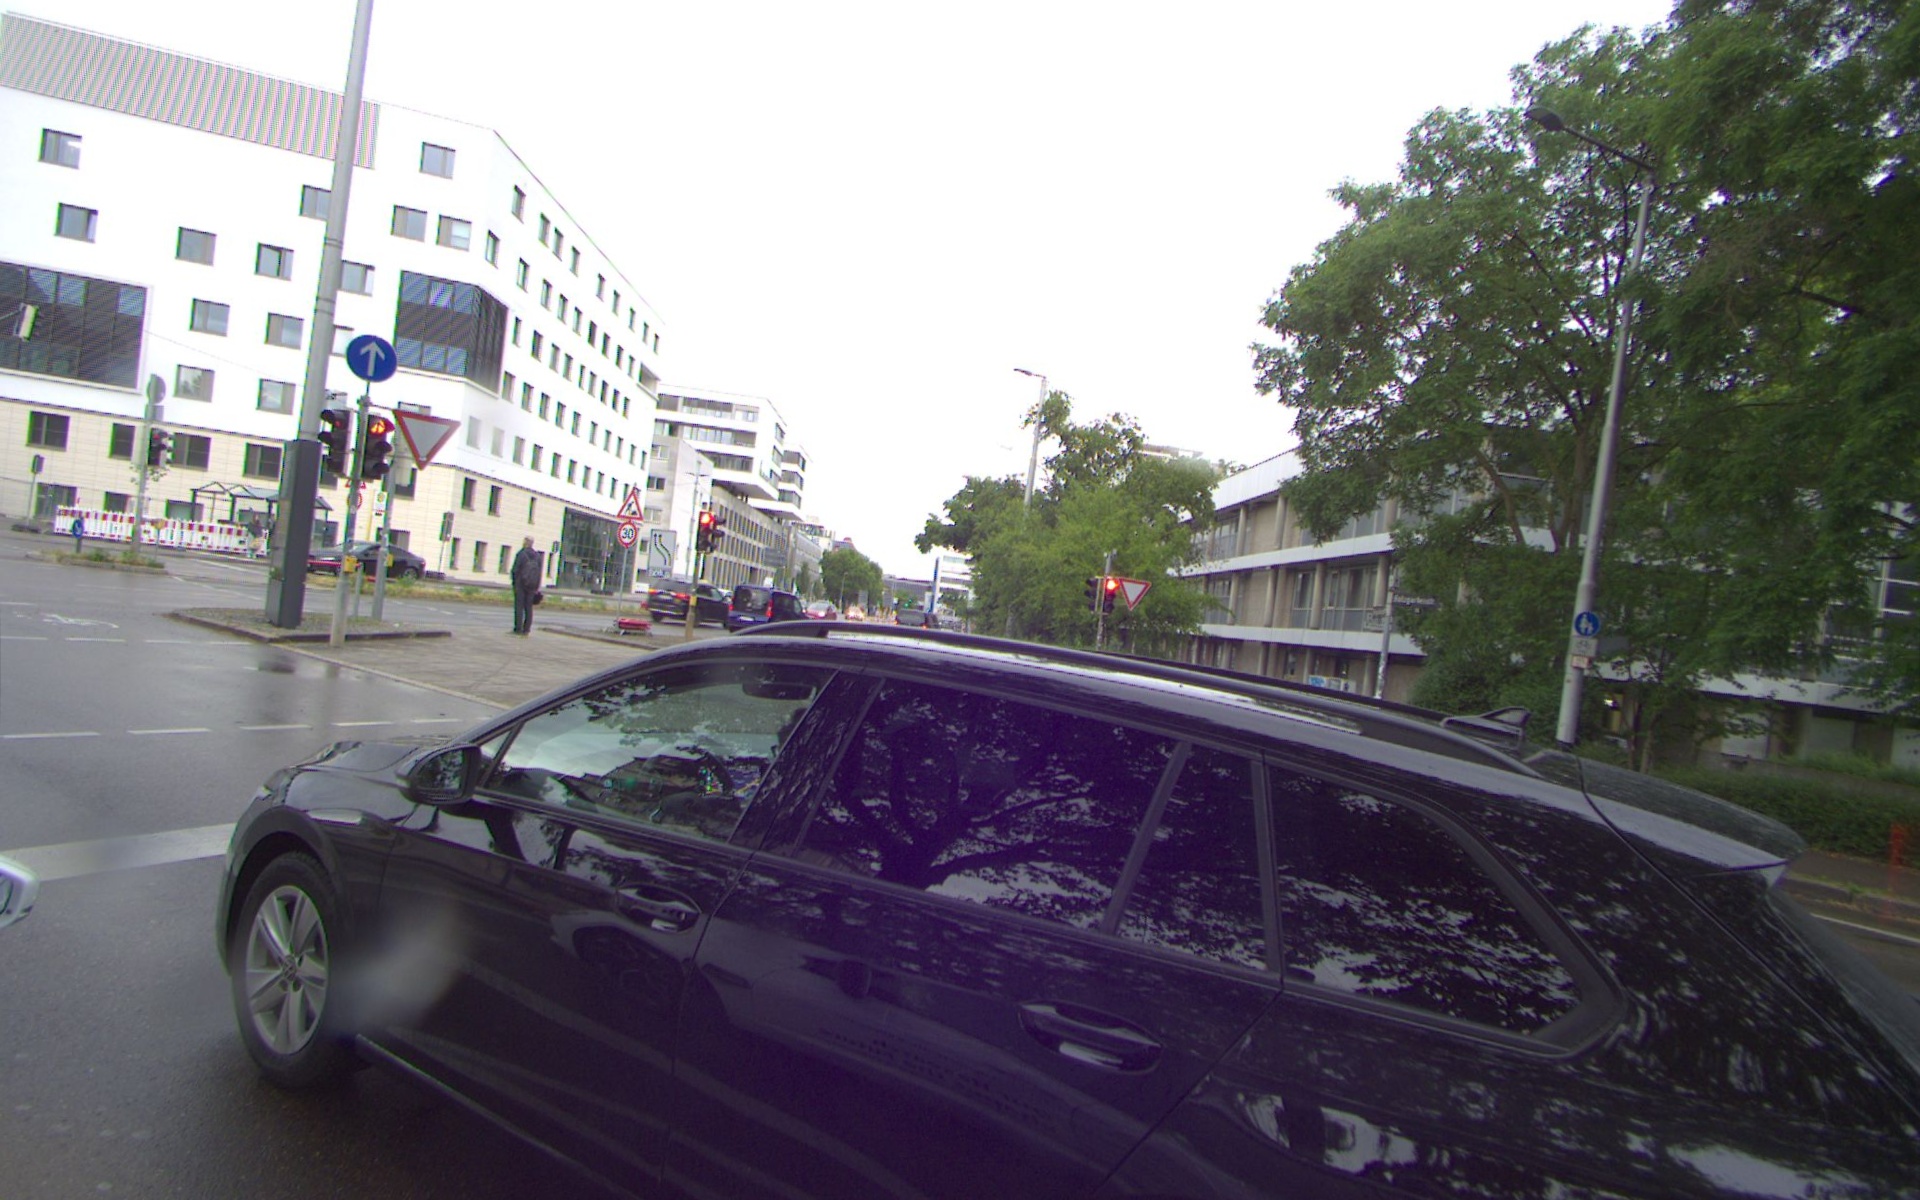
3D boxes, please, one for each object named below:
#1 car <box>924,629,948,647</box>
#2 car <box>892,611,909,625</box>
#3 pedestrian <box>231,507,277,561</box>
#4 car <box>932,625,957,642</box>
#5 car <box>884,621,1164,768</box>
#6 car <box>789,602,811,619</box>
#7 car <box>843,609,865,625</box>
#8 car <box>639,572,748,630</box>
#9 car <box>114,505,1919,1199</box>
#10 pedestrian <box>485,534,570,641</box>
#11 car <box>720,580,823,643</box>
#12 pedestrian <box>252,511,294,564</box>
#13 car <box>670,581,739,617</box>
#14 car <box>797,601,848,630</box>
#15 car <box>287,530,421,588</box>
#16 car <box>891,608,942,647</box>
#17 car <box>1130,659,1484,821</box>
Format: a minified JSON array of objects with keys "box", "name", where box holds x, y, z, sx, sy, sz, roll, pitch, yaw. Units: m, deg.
[{"box":[-2.561,4.047,106.434,1.836,1.669,4.774,7,-3,-8],"name":"car"},{"box":[-8.388,2.475,140.495,1.836,1.669,4.775,7,-3,-7],"name":"car"},{"box":[-26.838,-2.494,38.237,0.808,1.861,0.955,6,-2,20],"name":"pedestrian"},{"box":[-1.552,3.306,99.156,1.836,1.437,3.998,7,-3,-9],"name":"car"},{"box":[0.759,1.270,14.401,1.851,1.466,3.964,9,-2,-34],"name":"car"},{"box":[-15.896,1.021,100.217,1.966,1.394,4.382,8,-1,-8],"name":"car"},{"box":[-11.673,1.906,111.075,1.932,1.466,4.161,8,-2,-3],"name":"car"},{"box":[-10.009,0.083,38.222,1.764,1.726,4.692,8,-1,15],"name":"car"},{"box":[-0.293,0.771,2.735,4.437,1.483,1.673,8,-1,32],"name":"car"},{"box":[-8.329,-0.232,19.403,1.009,1.913,0.830,6,-2,23],"name":"pedestrian"},{"box":[-6.915,0.487,37.375,1.764,1.930,4.312,8,-1,17],"name":"car"},{"box":[-27.726,-2.519,40.606,0.941,1.957,1.001,5,-2,41],"name":"pedestrian"},{"box":[-14.308,-0.017,56.544,1.764,1.460,4.006,8,-3,17],"name":"car"},{"box":[-10.145,1.182,74.602,1.930,1.574,4.536,8,-3,16],"name":"car"},{"box":[-22.511,-1.486,37.555,1.764,1.460,4.006,8,-3,17],"name":"car"},{"box":[-2.386,1.535,56.170,1.962,1.830,4.790,8,-1,6],"name":"car"},{"box":[4.723,1.893,14.313,1.853,1.467,4.359,9,-2,-37],"name":"car"}]
